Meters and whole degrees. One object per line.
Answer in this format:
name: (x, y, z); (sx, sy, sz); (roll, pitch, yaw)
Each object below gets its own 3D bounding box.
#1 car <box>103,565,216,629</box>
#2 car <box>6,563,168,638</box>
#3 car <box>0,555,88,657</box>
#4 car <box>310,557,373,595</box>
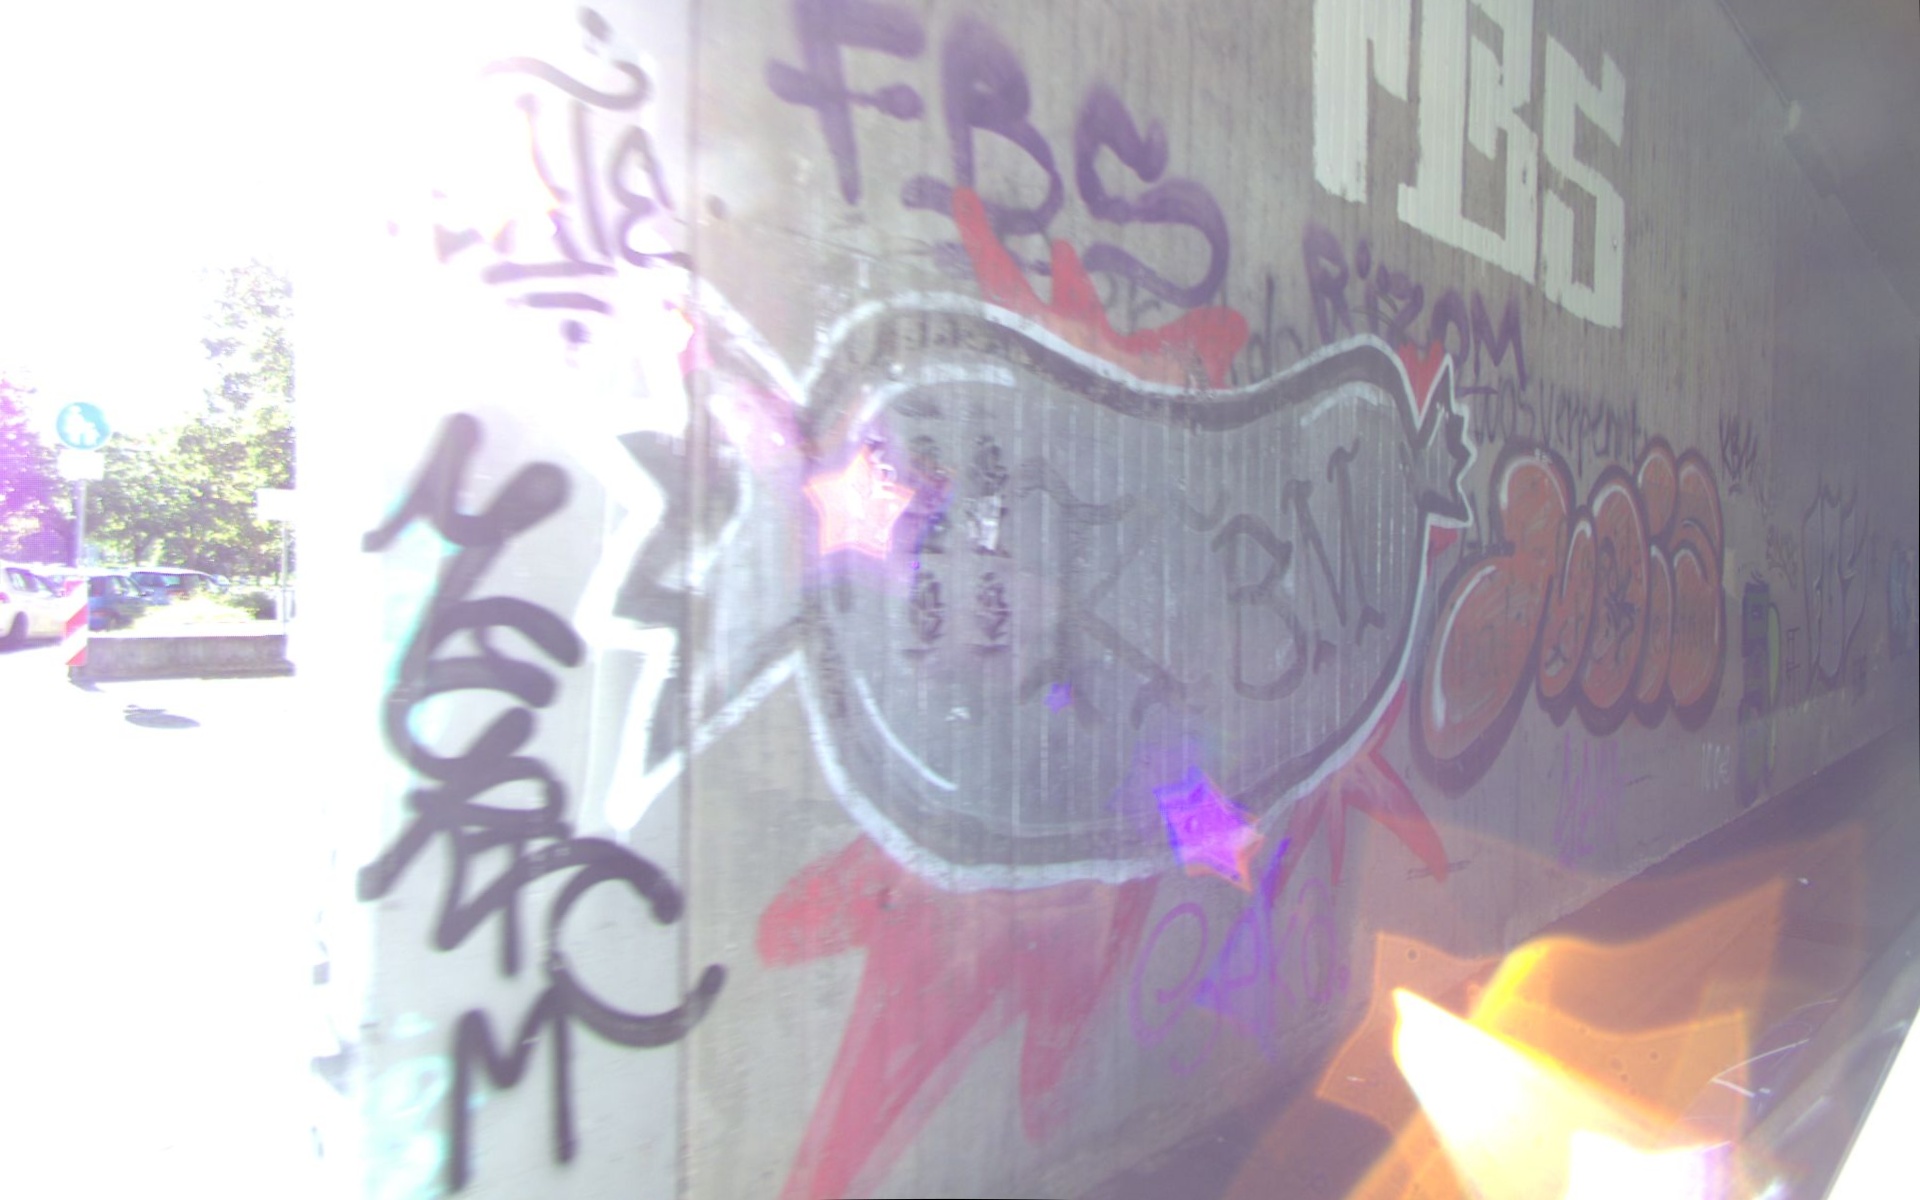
car: (-20.440, -0.119, 25.983); (1.453, 1.479, 3.376); (2, 1, -24)
car: (-18.493, -0.036, 21.607); (1.631, 1.423, 3.300); (2, 1, -23)
car: (-16.421, 0.035, 17.033); (1.621, 1.551, 3.515); (2, 1, -23)
car: (-27.446, -1.082, 45.037); (1.772, 1.567, 3.544); (2, 1, -22)
